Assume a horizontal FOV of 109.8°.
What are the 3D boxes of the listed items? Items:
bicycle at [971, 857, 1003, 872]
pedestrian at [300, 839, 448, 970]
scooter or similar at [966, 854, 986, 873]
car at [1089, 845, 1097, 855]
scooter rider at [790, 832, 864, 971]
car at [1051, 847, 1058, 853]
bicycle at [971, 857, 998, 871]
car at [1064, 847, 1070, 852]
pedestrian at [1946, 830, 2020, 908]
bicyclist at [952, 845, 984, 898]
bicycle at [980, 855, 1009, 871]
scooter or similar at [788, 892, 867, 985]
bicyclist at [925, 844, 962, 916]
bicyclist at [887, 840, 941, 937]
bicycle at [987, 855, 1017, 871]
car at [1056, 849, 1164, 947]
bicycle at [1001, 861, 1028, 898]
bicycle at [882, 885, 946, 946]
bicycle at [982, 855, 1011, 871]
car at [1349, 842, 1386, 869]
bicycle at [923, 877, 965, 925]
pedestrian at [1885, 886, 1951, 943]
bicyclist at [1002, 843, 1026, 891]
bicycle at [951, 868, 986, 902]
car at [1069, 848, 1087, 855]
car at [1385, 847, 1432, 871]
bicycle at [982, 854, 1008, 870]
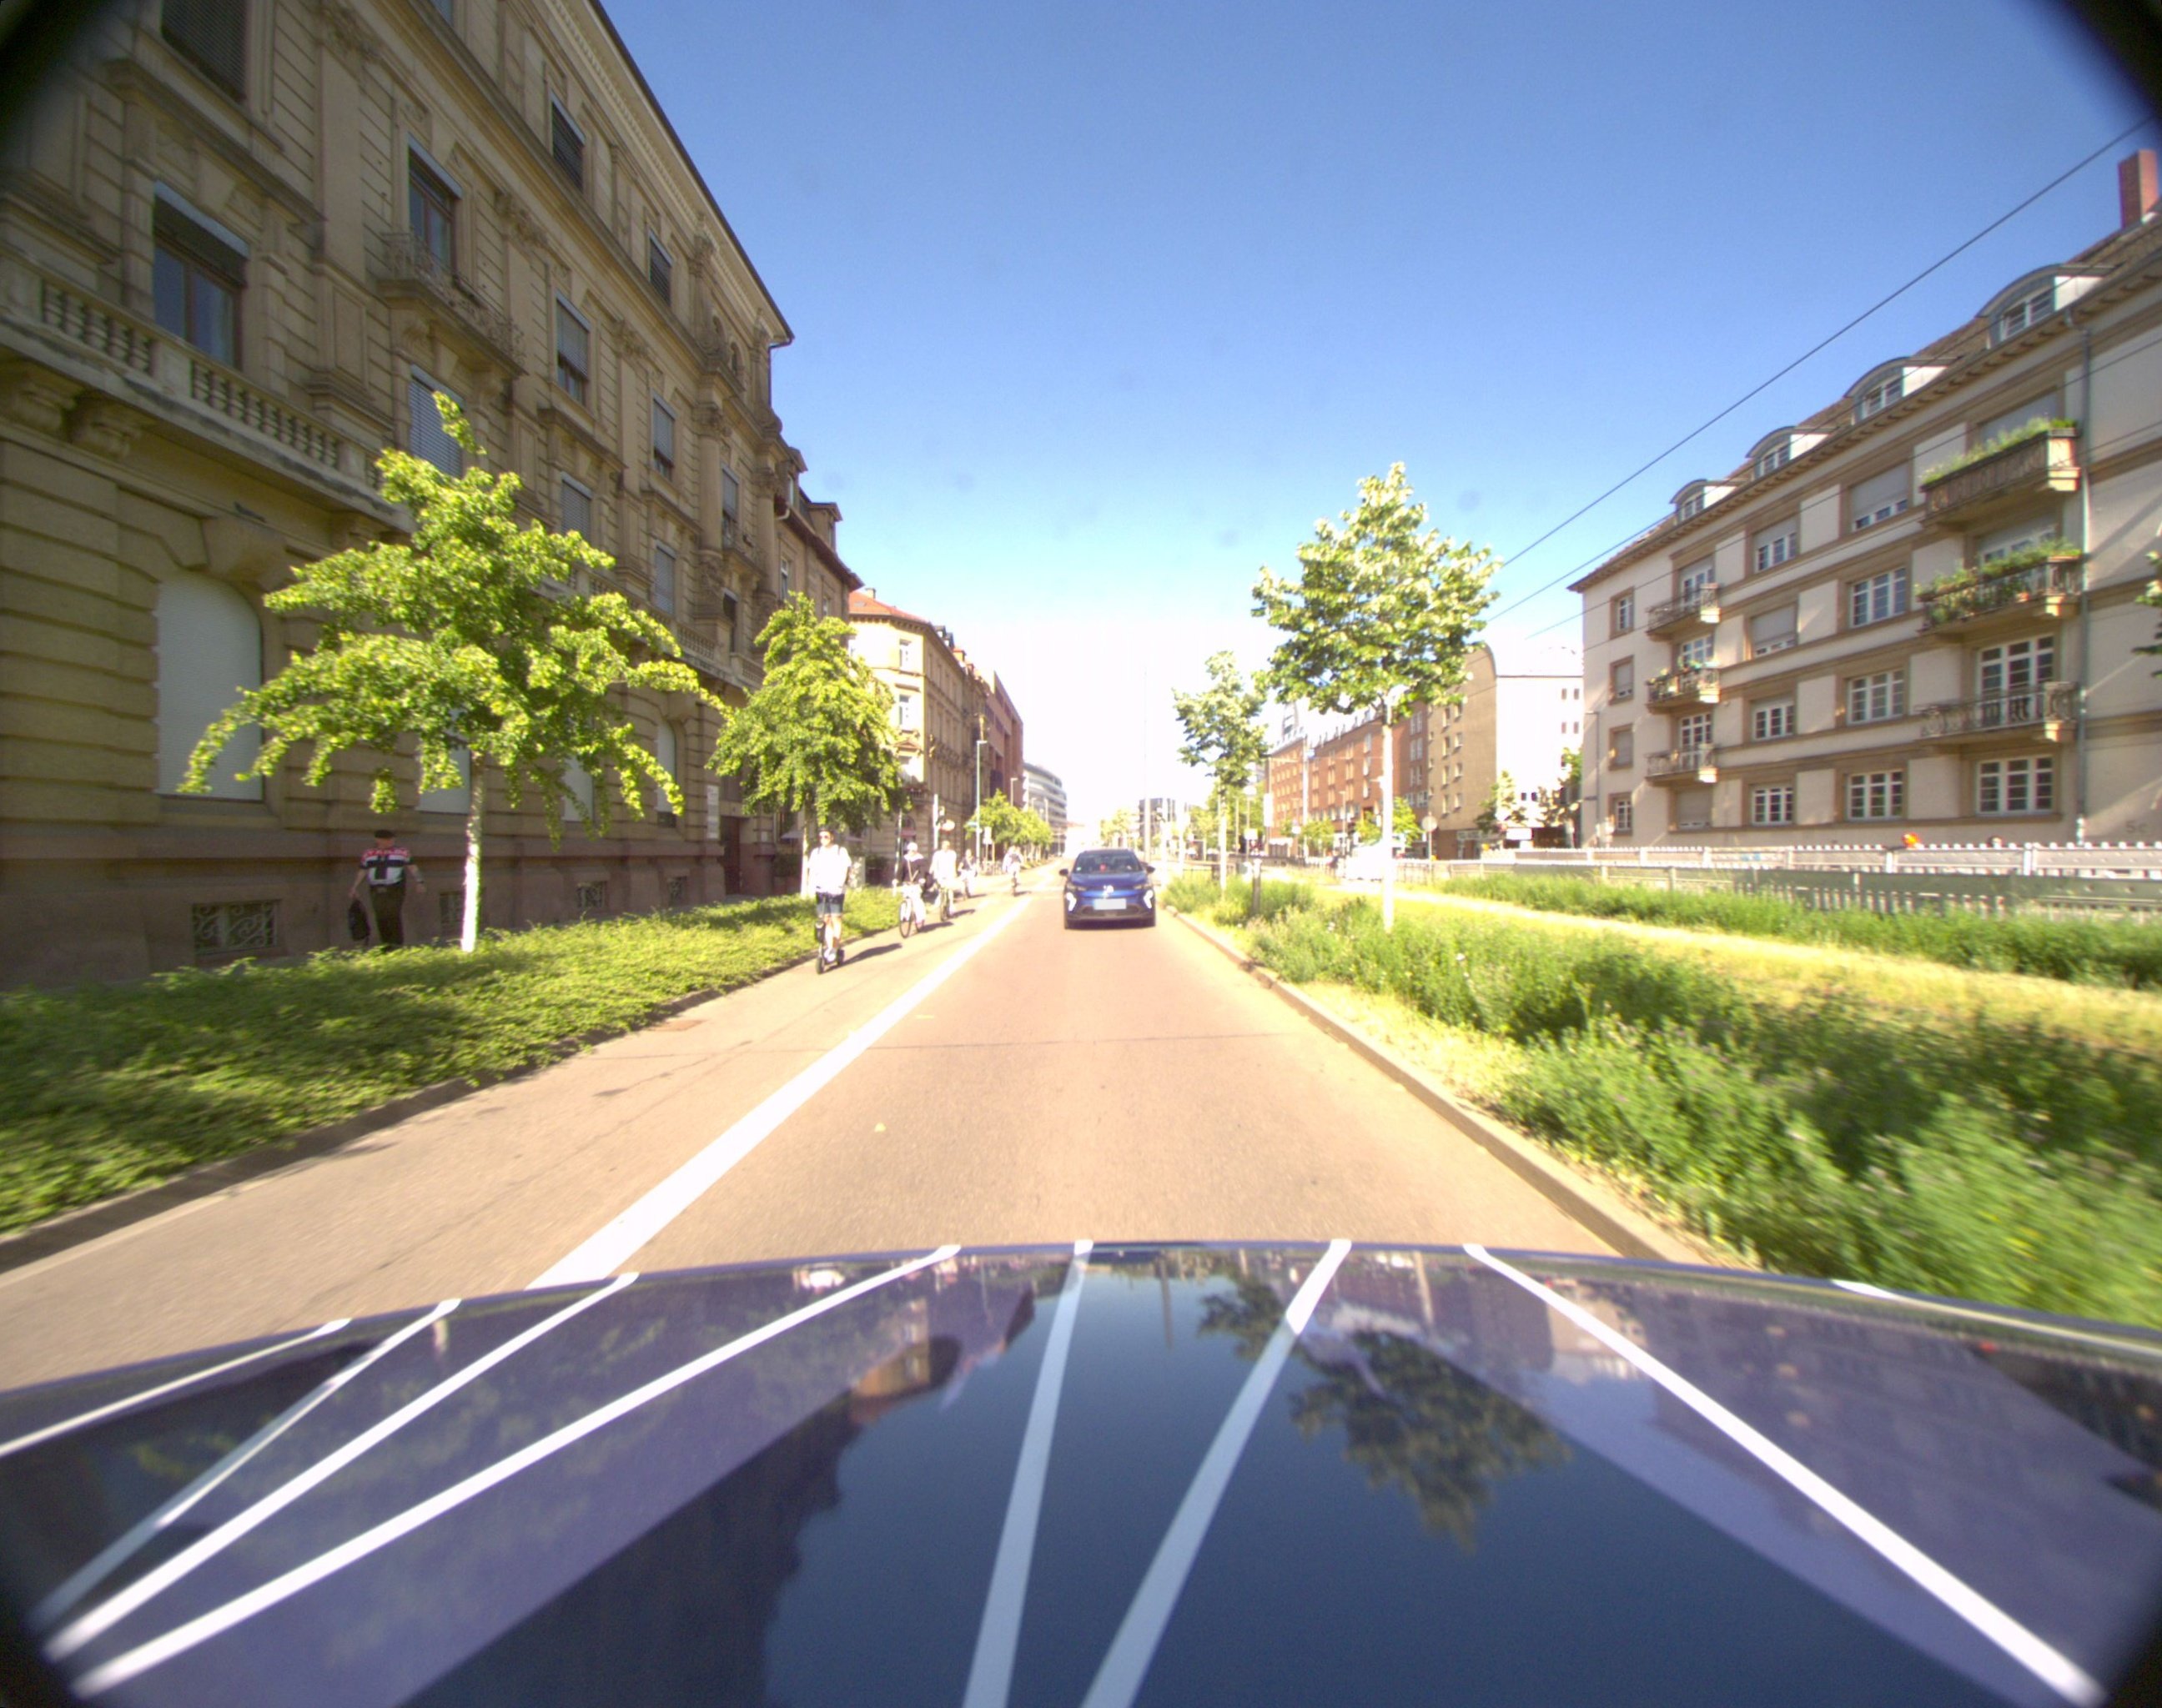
[{"bbox_3d":[-6.087,0.693,49.154,1.905,0.906,0.592,2,2,9],"label":"bicycle"},{"bbox_3d":[-9.624,0.645,10.394,0.972,1.682,1.114,2,1,2],"label":"pedestrian"},{"bbox_3d":[-6.598,0.599,47.636,1.199,1.191,0.487,0,1,-4],"label":"scooter or similar"},{"bbox_3d":[3.068,-1.070,194.565,1.758,2.472,4.610,-1,1,1],"label":"car"},{"bbox_3d":[-3.528,0.635,10.616,0.662,1.856,0.898,-1,1,2],"label":"scooter rider"},{"bbox_3d":[-7.287,-1.079,210.930,1.745,1.543,3.999,0,1,0],"label":"car"},{"bbox_3d":[-6.337,0.646,49.786,1.717,0.920,0.497,0,2,0],"label":"bicycle"},{"bbox_3d":[-4.118,-1.395,226.328,1.745,1.543,4.000,0,1,1],"label":"car"},{"bbox_3d":[22.072,0.342,18.613,0.768,1.852,0.871,-1,2,1],"label":"pedestrian"},{"bbox_3d":[-3.786,0.569,25.578,0.854,1.717,0.988,-2,1,1],"label":"bicyclist"},{"bbox_3d":[-6.037,0.608,52.878,1.903,1.024,1.030,2,1,-3],"label":"bicycle"},{"bbox_3d":[-3.519,1.146,10.648,0.647,1.151,1.150,-1,1,2],"label":"scooter or similar"},{"bbox_3d":[-3.276,0.603,18.115,0.700,1.647,0.977,-1,1,-3],"label":"bicyclist"},{"bbox_3d":[-3.247,0.640,14.855,0.725,1.807,1.091,-2,1,3],"label":"bicyclist"},{"bbox_3d":[-5.756,0.626,55.427,2.062,1.036,0.847,3,2,-1],"label":"bicycle"},{"bbox_3d":[0.514,0.726,15.135,1.758,1.576,4.420,-3,1,1],"label":"car"},{"bbox_3d":[-2.302,0.874,26.411,0.725,1.187,1.952,-2,1,1],"label":"bicycle"},{"bbox_3d":[-3.233,1.157,14.866,0.725,1.000,1.952,-2,1,2],"label":"bicycle"},{"bbox_3d":[-5.698,0.610,51.365,1.876,1.043,0.608,2,1,-4],"label":"bicycle"},{"bbox_3d":[25.536,0.081,67.847,1.997,2.284,5.191,-1,1,9],"label":"car"},{"bbox_3d":[-3.261,1.099,18.220,0.725,1.000,1.951,-2,1,-3],"label":"bicycle"},{"bbox_3d":[24.185,1.735,21.977,0.788,1.509,1.020,-1,2,1],"label":"pedestrian"},{"bbox_3d":[-2.317,0.444,26.402,0.725,1.595,0.895,-2,1,1],"label":"bicyclist"},{"bbox_3d":[-3.775,1.025,25.580,0.830,1.000,1.952,-2,1,1],"label":"bicycle"},{"bbox_3d":[-0.716,-0.567,182.832,4.416,1.547,1.759,-1,1,1],"label":"car"},{"bbox_3d":[24.444,0.319,56.821,1.699,1.631,3.998,-1,1,-1],"label":"car"},{"bbox_3d":[-6.080,0.570,54.023,1.678,1.056,1.134,3,1,-1],"label":"bicycle"}]
